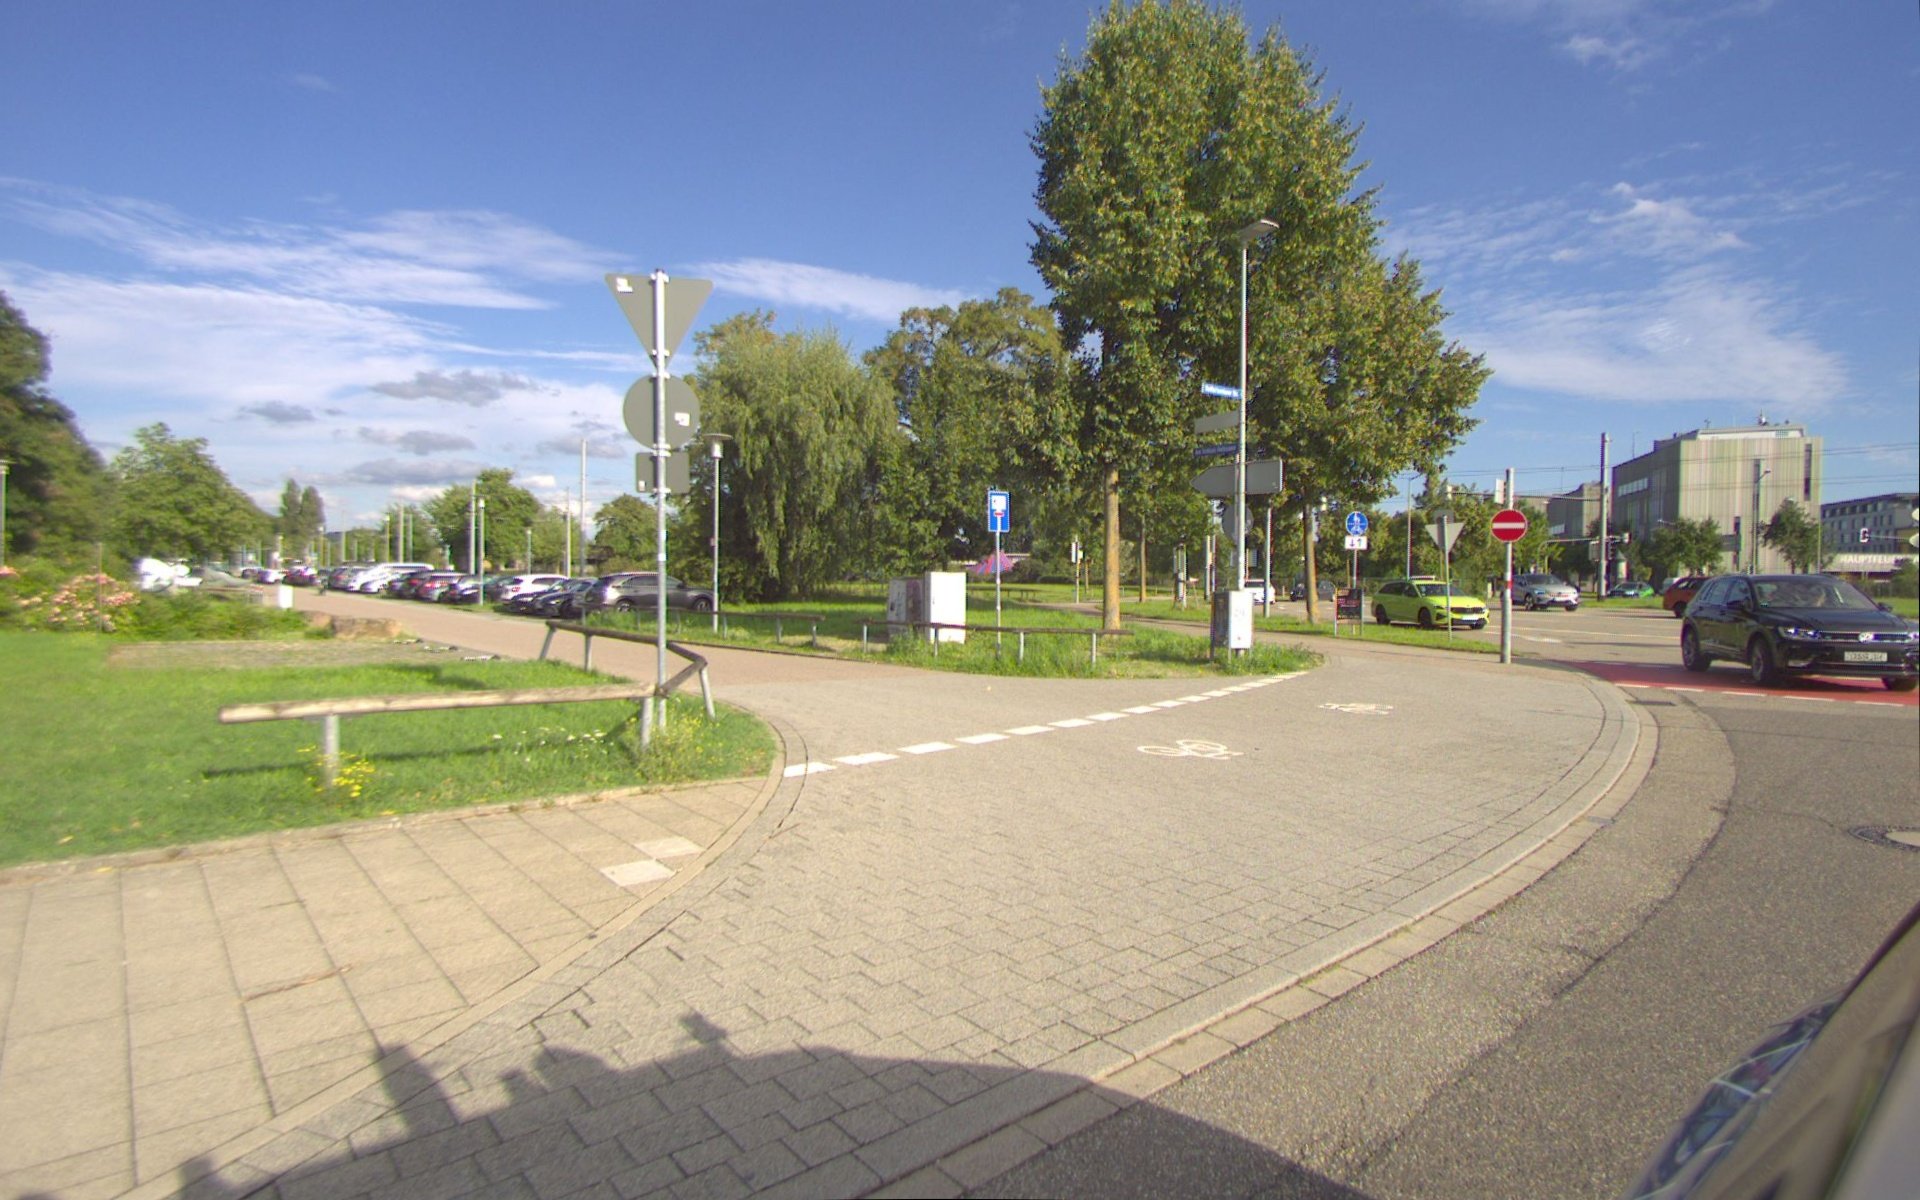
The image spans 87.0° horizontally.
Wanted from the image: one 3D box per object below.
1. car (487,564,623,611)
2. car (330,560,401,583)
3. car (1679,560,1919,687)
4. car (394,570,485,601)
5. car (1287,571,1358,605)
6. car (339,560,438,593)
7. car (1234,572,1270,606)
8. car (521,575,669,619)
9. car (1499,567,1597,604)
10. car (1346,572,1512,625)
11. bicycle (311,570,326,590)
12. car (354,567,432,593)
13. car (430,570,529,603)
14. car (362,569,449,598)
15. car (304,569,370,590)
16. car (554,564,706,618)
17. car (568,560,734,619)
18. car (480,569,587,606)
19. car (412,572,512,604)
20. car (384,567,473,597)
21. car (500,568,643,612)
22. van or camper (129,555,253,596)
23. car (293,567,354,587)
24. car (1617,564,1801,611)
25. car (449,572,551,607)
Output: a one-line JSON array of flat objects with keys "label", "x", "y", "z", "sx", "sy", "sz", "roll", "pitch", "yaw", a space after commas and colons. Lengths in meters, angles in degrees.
[{"label": "car", "x": -16.837, "y": -0.545, "z": 42.118, "sx": 4.820, "sy": 1.822, "sz": 2.359, "roll": -1, "pitch": 1, "yaw": -37}, {"label": "car", "x": -41.200, "y": -1.967, "z": 70.166, "sx": 3.934, "sy": 1.591, "sz": 1.995, "roll": -1, "pitch": 2, "yaw": -44}, {"label": "car", "x": 12.904, "y": 0.268, "z": 15.509, "sx": 1.798, "sy": 1.679, "sz": 4.220, "roll": 0, "pitch": 1, "yaw": 17}, {"label": "car", "x": -27.152, "y": -0.784, "z": 52.853, "sx": 3.933, "sy": 1.543, "sz": 1.712, "roll": -2, "pitch": 1, "yaw": -43}, {"label": "car", "x": 21.027, "y": -0.750, "z": 59.086, "sx": 2.434, "sy": 1.890, "sz": 6.244, "roll": 1, "pitch": 2, "yaw": 6}, {"label": "car", "x": -37.515, "y": -1.571, "z": 66.511, "sx": 5.341, "sy": 2.075, "sz": 1.995, "roll": -1, "pitch": 2, "yaw": -44}, {"label": "car", "x": 16.962, "y": -0.676, "z": 58.691, "sx": 1.815, "sy": 1.890, "sz": 5.374, "roll": 0, "pitch": 1, "yaw": 18}, {"label": "car", "x": -13.670, "y": -0.165, "z": 38.030, "sx": 4.820, "sy": 1.518, "sz": 2.086, "roll": -2, "pitch": 1, "yaw": -37}, {"label": "car", "x": 25.418, "y": -0.649, "z": 43.944, "sx": 1.964, "sy": 1.504, "sz": 4.259, "roll": 0, "pitch": 2, "yaw": 4}, {"label": "car", "x": 14.534, "y": -0.089, "z": 31.871, "sx": 2.002, "sy": 1.487, "sz": 5.995, "roll": -1, "pitch": 1, "yaw": -5}, {"label": "bicycle", "x": -38.271, "y": -1.210, "z": 60.343, "sx": 0.627, "sy": 1.179, "sz": 1.759, "roll": -1, "pitch": 1, "yaw": -36}, {"label": "car", "x": -35.639, "y": -1.255, "z": 63.624, "sx": 3.934, "sy": 1.591, "sz": 1.995, "roll": -1, "pitch": 2, "yaw": -44}, {"label": "car", "x": -23.291, "y": -0.682, "z": 49.150, "sx": 3.933, "sy": 1.543, "sz": 1.996, "roll": -2, "pitch": 1, "yaw": -43}, {"label": "car", "x": -31.517, "y": -0.957, "z": 57.575, "sx": 3.934, "sy": 1.591, "sz": 1.995, "roll": -1, "pitch": 2, "yaw": -44}, {"label": "car", "x": -47.132, "y": -1.555, "z": 76.553, "sx": 3.934, "sy": 1.591, "sz": 1.995, "roll": -1, "pitch": 2, "yaw": -44}, {"label": "car", "x": -11.767, "y": -0.371, "z": 36.239, "sx": 4.703, "sy": 1.822, "sz": 2.272, "roll": -1, "pitch": 1, "yaw": -37}, {"label": "car", "x": -10.251, "y": -0.395, "z": 33.715, "sx": 4.822, "sy": 1.822, "sz": 2.272, "roll": -2, "pitch": 1, "yaw": -38}, {"label": "car", "x": -18.819, "y": -0.561, "z": 44.779, "sx": 3.933, "sy": 1.543, "sz": 1.996, "roll": -2, "pitch": 1, "yaw": -43}, {"label": "car", "x": -25.226, "y": -0.607, "z": 51.346, "sx": 4.162, "sy": 1.543, "sz": 1.996, "roll": -2, "pitch": 1, "yaw": -43}, {"label": "car", "x": -29.134, "y": -0.994, "z": 55.536, "sx": 3.934, "sy": 1.591, "sz": 1.995, "roll": -1, "pitch": 2, "yaw": -44}, {"label": "car", "x": -15.246, "y": -0.410, "z": 39.808, "sx": 4.820, "sy": 1.616, "sz": 2.272, "roll": -2, "pitch": 1, "yaw": -37}, {"label": "van or camper", "x": -31.172, "y": -0.994, "z": 41.132, "sx": 3.927, "sy": 1.593, "sz": 1.999, "roll": -1, "pitch": 1, "yaw": -37}, {"label": "car", "x": -52.261, "y": -1.917, "z": 83.067, "sx": 3.934, "sy": 1.591, "sz": 1.995, "roll": -1, "pitch": 2, "yaw": -44}, {"label": "car", "x": 26.613, "y": -0.471, "z": 36.202, "sx": 2.258, "sy": 1.543, "sz": 4.879, "roll": -1, "pitch": 1, "yaw": -19}, {"label": "car", "x": -21.439, "y": -0.510, "z": 47.214, "sx": 3.933, "sy": 1.543, "sz": 1.996, "roll": -2, "pitch": 1, "yaw": -43}]
